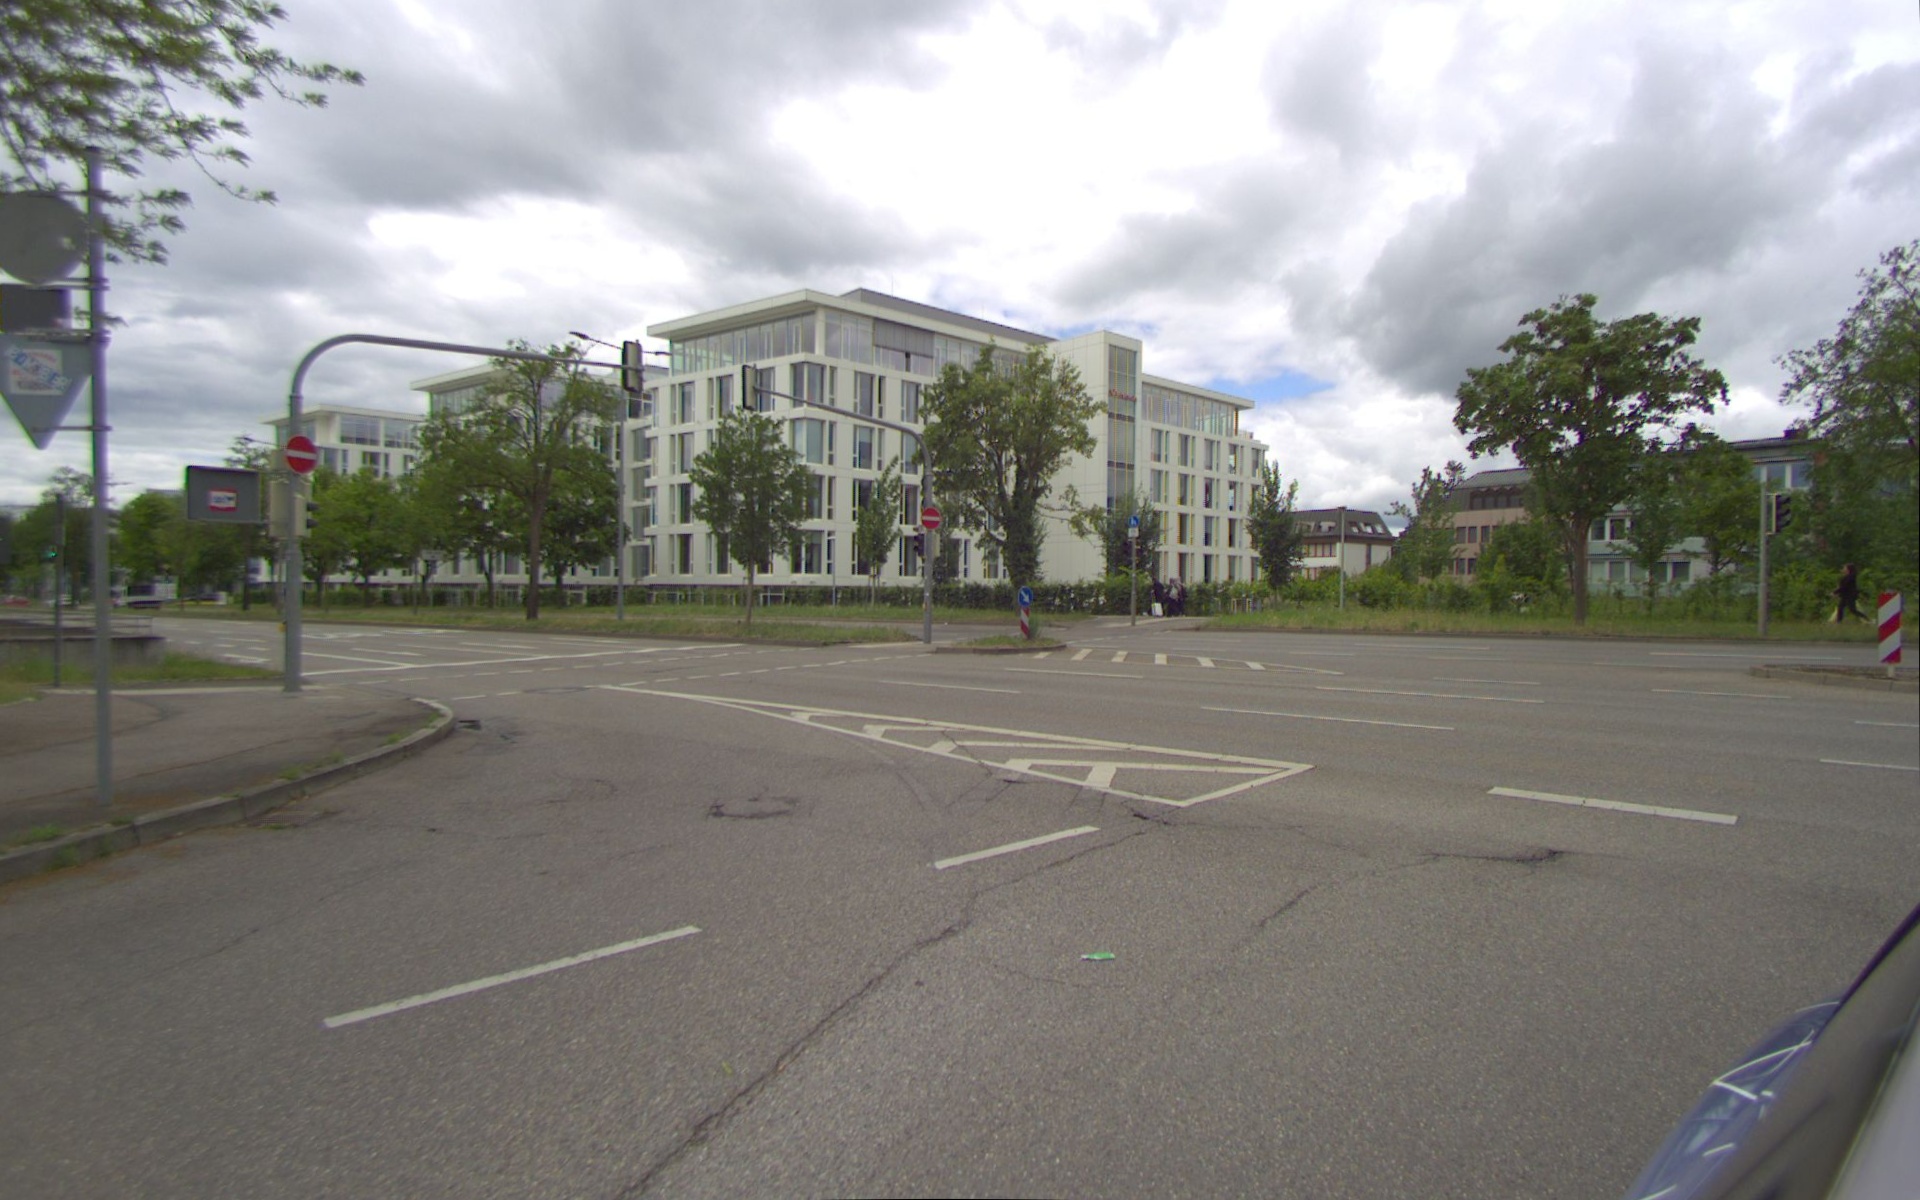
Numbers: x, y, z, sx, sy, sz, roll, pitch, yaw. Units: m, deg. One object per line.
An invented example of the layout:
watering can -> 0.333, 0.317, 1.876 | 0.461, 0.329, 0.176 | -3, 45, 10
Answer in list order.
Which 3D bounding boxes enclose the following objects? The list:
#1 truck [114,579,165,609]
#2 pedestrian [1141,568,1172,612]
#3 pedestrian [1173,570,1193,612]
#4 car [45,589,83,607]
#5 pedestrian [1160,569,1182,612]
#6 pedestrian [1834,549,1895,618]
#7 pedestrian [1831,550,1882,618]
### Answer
truck -> -71.398, -0.492, 88.077 | 4.564, 2.407, 2.527 | -2, -2, 39
pedestrian -> 7.597, -0.367, 39.089 | 0.718, 1.647, 1.036 | 0, -2, -20
pedestrian -> 8.808, -0.349, 39.981 | 0.676, 1.647, 0.660 | -1, -2, 5
car -> -88.558, -0.212, 99.989 | 3.858, 1.695, 1.854 | -1, -2, 34
pedestrian -> 8.215, -0.360, 39.440 | 0.554, 1.647, 0.709 | 0, -2, -20
pedestrian -> 22.957, -0.407, 25.708 | 0.994, 1.718, 0.601 | -1, -2, 30
pedestrian -> 23.282, -0.395, 26.293 | 0.825, 1.718, 0.609 | -2, -2, 30
